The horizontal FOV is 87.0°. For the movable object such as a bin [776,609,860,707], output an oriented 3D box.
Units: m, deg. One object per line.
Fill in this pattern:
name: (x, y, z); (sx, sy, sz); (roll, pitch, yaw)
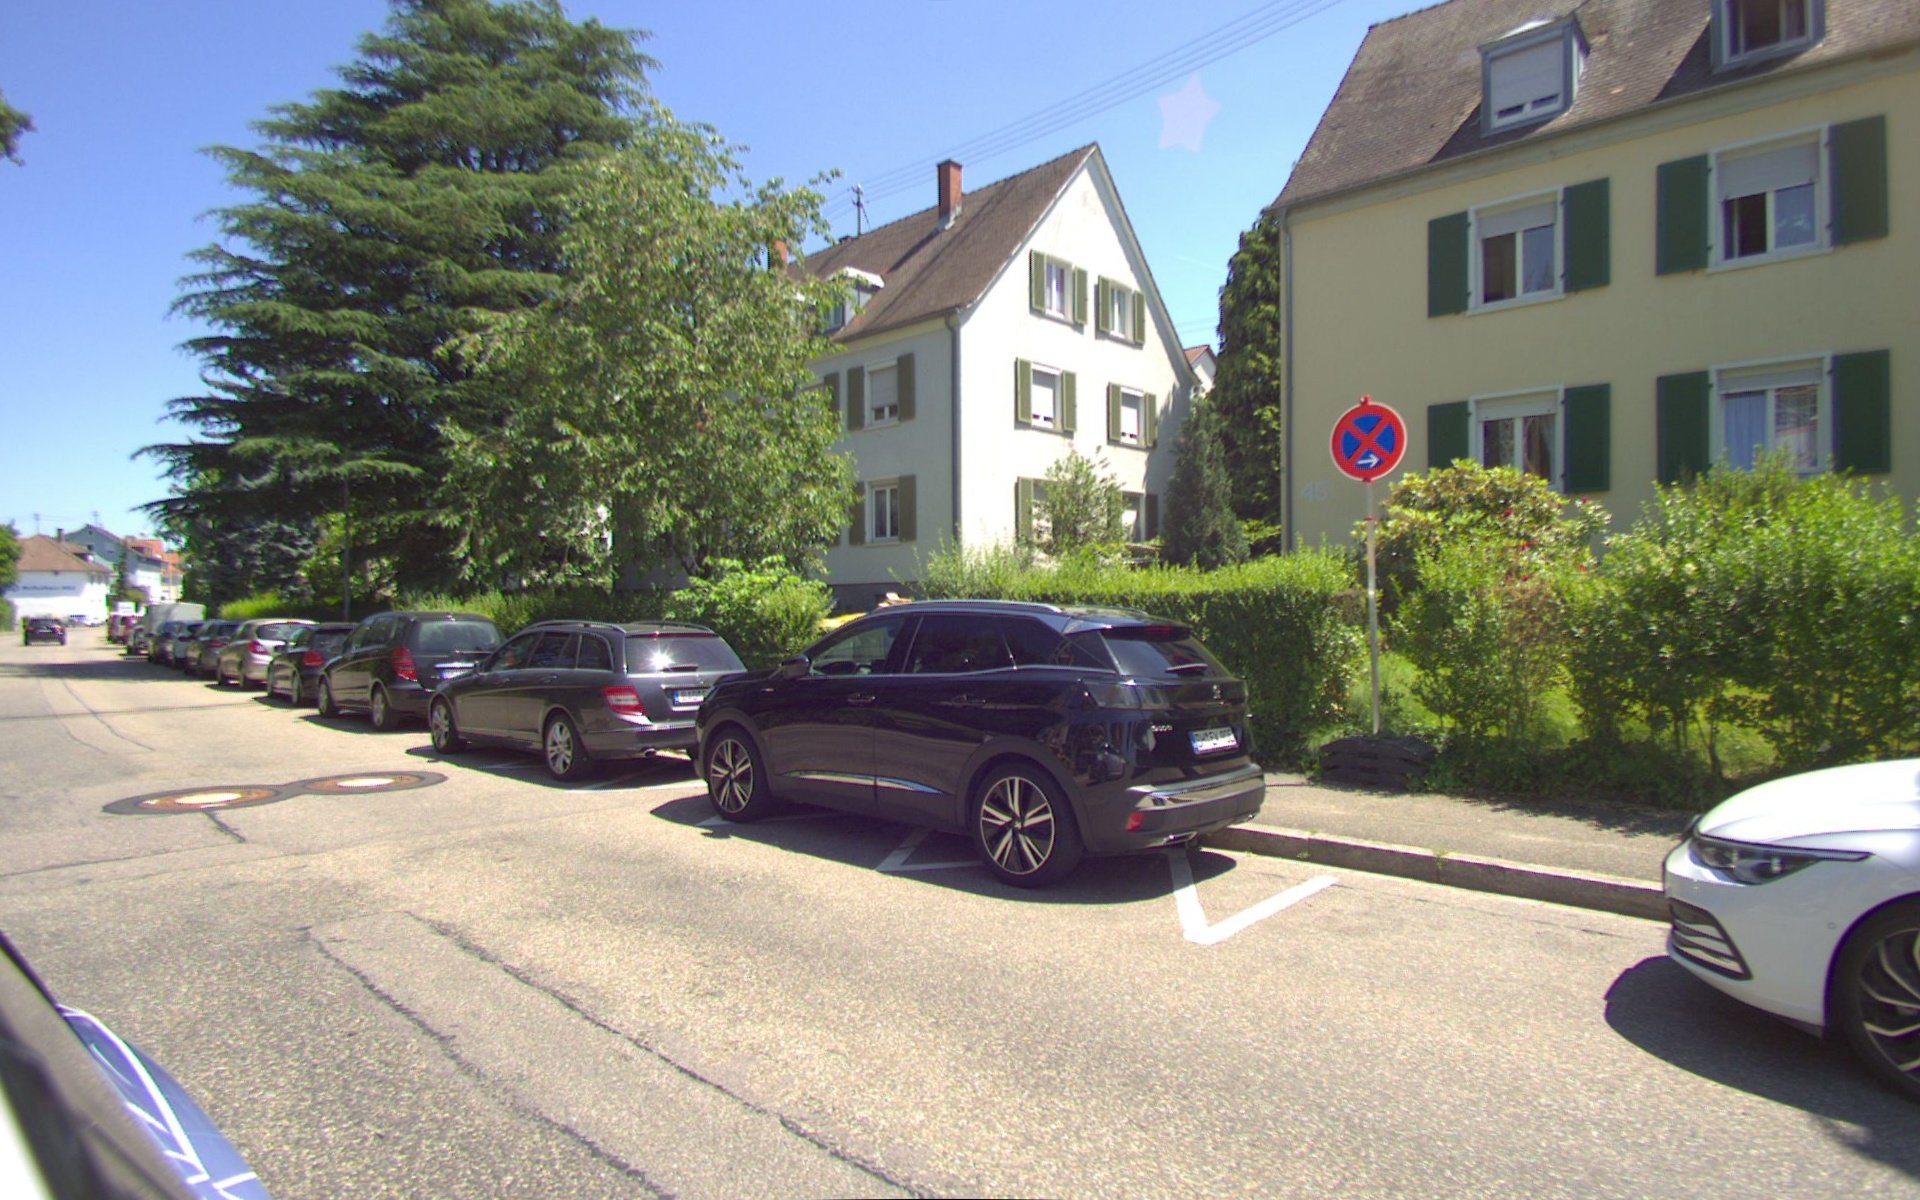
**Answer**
movable object such as a bin: (-2.017, 0.799, 14.385); (0.963, 1.342, 0.745); (-1, -2, 42)

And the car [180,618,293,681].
car: (-18.421, 1.195, 25.684); (1.775, 1.453, 4.277); (2, -2, -43)

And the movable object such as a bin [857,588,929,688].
movable object such as a bin: (-1.026, 0.571, 15.501); (0.918, 1.464, 0.650); (-1, -2, 42)

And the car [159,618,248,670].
car: (-22.873, 1.278, 30.543); (1.775, 1.453, 3.901); (2, -2, -42)

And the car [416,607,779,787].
car: (-3.896, 0.848, 10.476); (4.329, 1.487, 1.663); (-1, -2, 42)

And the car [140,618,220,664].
car: (-26.329, 1.353, 34.105); (1.775, 1.453, 4.482); (2, -2, -42)

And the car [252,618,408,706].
car: (-11.398, 1.045, 18.212); (1.661, 1.412, 3.794); (2, -2, -43)

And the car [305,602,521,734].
car: (-7.963, 0.892, 14.595); (3.791, 1.652, 1.662); (-1, -2, 44)

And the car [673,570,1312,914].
car: (-0.030, 0.726, 6.940); (4.329, 1.649, 1.663); (-1, -2, 42)

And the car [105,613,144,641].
car: (-55.547, 1.799, 67.254); (1.865, 1.772, 3.618); (3, -2, -40)

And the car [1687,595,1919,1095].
car: (4.513, 0.712, 2.521); (4.246, 1.452, 1.663); (-1, -2, 42)

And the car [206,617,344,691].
car: (-14.839, 1.102, 21.853); (1.776, 1.453, 3.787); (2, -2, -45)

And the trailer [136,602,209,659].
trailer: (-29.967, 1.144, 38.483); (1.792, 2.049, 4.004); (3, -3, -43)

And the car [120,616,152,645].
car: (-45.679, 1.676, 56.078); (1.289, 1.589, 2.324); (1, -2, -41)

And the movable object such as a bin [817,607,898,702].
movable object such as a bin: (-1.514, 0.784, 14.968); (0.963, 1.342, 0.745); (-1, -2, 42)

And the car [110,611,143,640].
car: (-64.181, 1.939, 77.895); (1.865, 2.131, 4.005); (3, -2, -40)

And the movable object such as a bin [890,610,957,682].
movable object such as a bin: (-0.574, 0.702, 15.897); (0.852, 1.093, 0.650); (-1, -2, 42)

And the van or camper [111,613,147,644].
van or camper: (-49.162, 1.687, 59.846); (1.560, 1.784, 3.894); (1, -2, -41)

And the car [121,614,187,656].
car: (-33.065, 1.404, 41.460); (1.747, 1.631, 4.553); (2, -2, -43)

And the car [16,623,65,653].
car: (-50.649, 2.057, 55.716); (1.877, 1.587, 4.144); (1, -1, -44)
